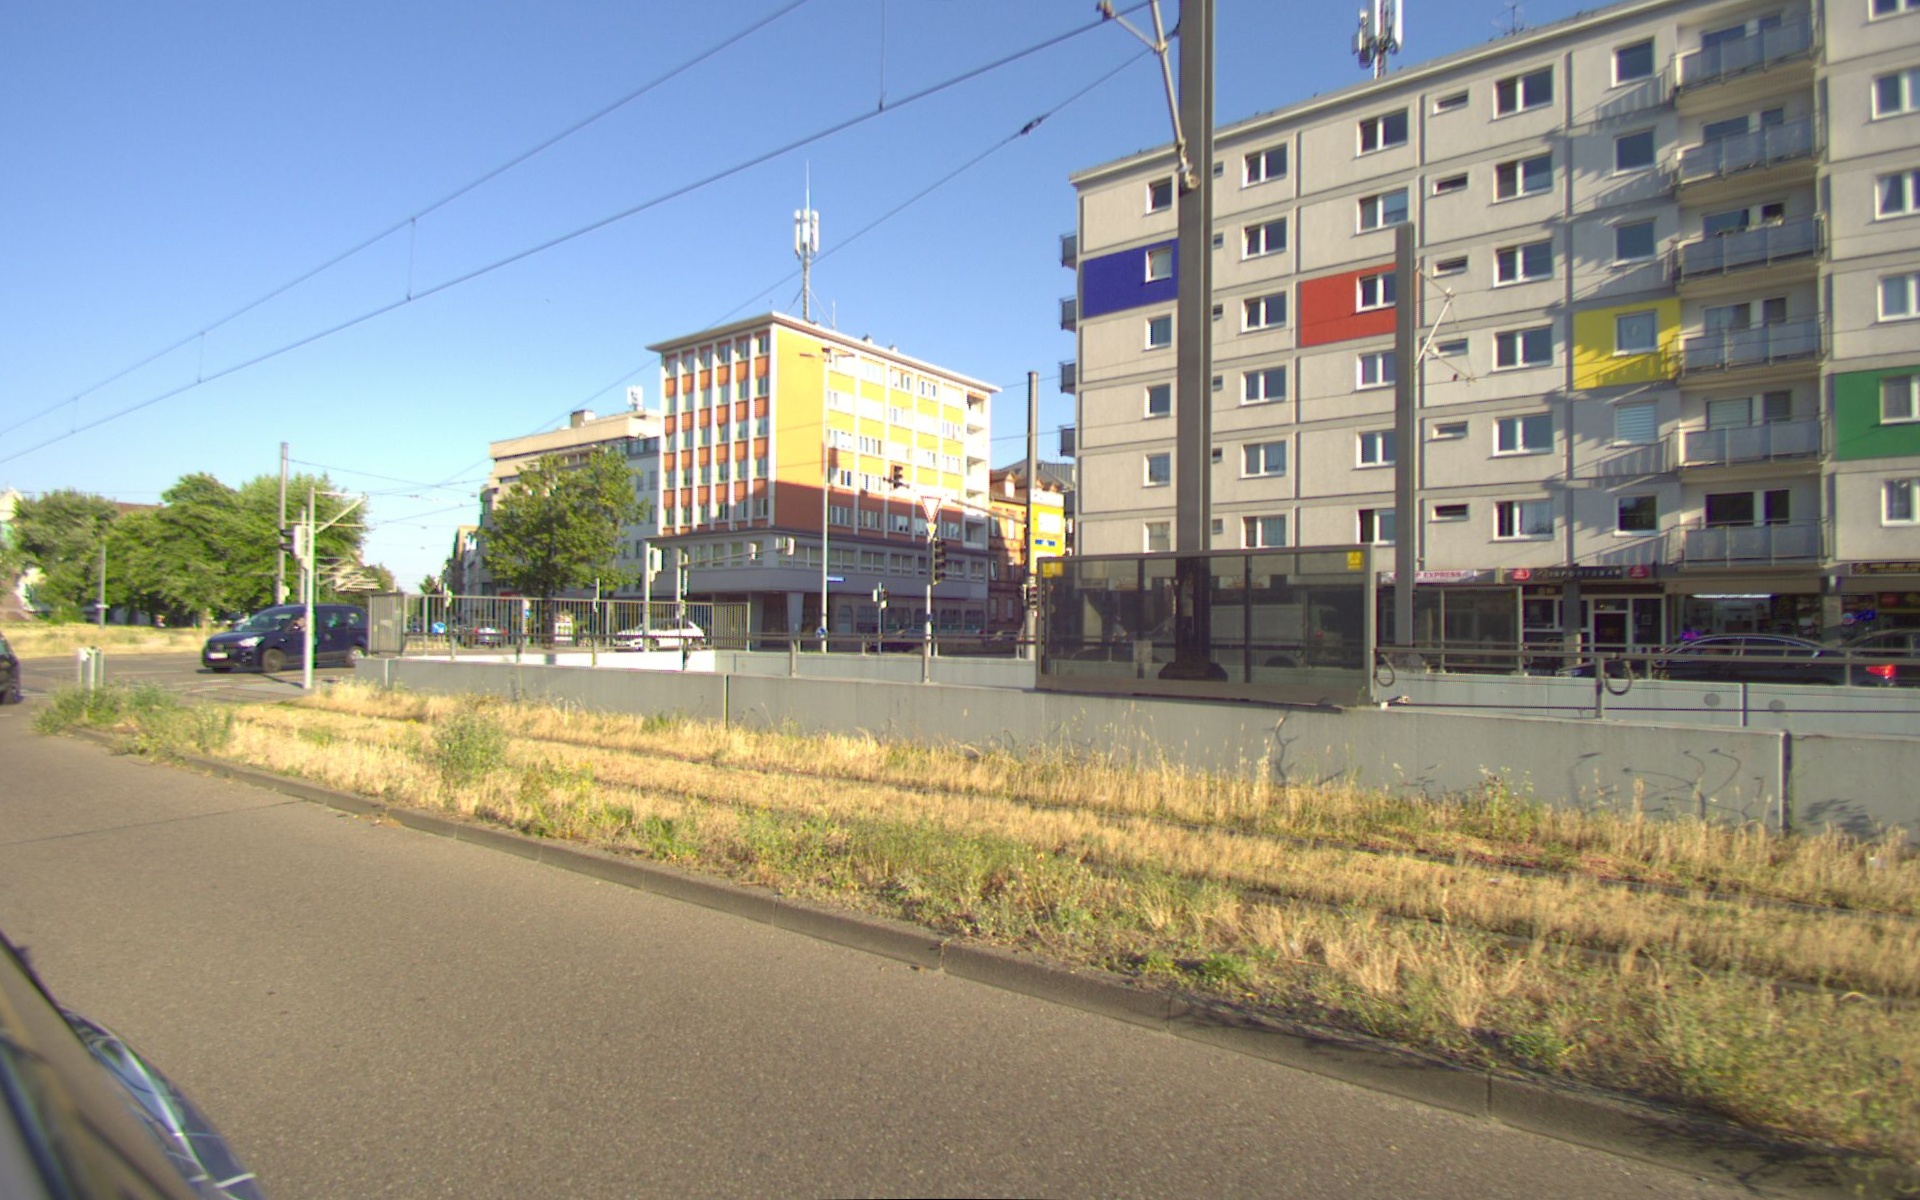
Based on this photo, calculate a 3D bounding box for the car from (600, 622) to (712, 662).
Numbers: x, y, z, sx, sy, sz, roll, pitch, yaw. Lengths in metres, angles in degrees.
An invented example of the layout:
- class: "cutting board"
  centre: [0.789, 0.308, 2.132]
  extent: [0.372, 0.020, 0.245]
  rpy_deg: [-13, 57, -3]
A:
- class: "car"
  centre: [-12.555, 1.717, 41.993]
  extent: [1.831, 1.549, 4.227]
  rpy_deg: [-1, -1, 35]

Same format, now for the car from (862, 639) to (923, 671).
- class: "car"
  centre: [-4.300, 3.467, 64.583]
  extent: [1.739, 1.794, 3.950]
  rpy_deg: [0, 0, 37]

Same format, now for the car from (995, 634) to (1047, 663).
- class: "car"
  centre: [4.278, 3.345, 70.997]
  extent: [1.739, 1.794, 3.950]
  rpy_deg: [0, 0, 37]

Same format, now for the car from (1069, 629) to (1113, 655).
- class: "car"
  centre: [10.274, 3.240, 79.163]
  extent: [1.739, 1.794, 3.950]
  rpy_deg: [0, 0, 37]

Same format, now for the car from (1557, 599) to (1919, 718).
- class: "car"
  centre: [13.357, 0.954, 17.605]
  extent: [4.889, 1.811, 1.974]
  rpy_deg: [-1, -2, 39]

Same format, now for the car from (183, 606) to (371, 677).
- class: "car"
  centre: [-18.131, 1.083, 27.132]
  extent: [1.753, 1.746, 4.131]
  rpy_deg: [0, -2, 12]

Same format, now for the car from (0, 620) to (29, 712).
- class: "car"
  centre: [-15.476, 1.010, 14.979]
  extent: [1.741, 1.437, 4.256]
  rpy_deg: [1, -2, -33]

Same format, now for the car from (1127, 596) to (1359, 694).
- class: "car"
  centre: [6.424, 0.983, 23.238]
  extent: [4.766, 2.029, 1.975]
  rpy_deg: [-1, -2, 37]

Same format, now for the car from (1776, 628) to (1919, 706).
- class: "car"
  centre: [22.602, 1.567, 24.197]
  extent: [4.736, 1.811, 1.974]
  rpy_deg: [-1, -2, 39]

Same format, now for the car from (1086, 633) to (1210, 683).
- class: "car"
  centre: [5.231, 1.591, 28.264]
  extent: [3.179, 1.297, 1.216]
  rpy_deg: [-1, -3, 32]
